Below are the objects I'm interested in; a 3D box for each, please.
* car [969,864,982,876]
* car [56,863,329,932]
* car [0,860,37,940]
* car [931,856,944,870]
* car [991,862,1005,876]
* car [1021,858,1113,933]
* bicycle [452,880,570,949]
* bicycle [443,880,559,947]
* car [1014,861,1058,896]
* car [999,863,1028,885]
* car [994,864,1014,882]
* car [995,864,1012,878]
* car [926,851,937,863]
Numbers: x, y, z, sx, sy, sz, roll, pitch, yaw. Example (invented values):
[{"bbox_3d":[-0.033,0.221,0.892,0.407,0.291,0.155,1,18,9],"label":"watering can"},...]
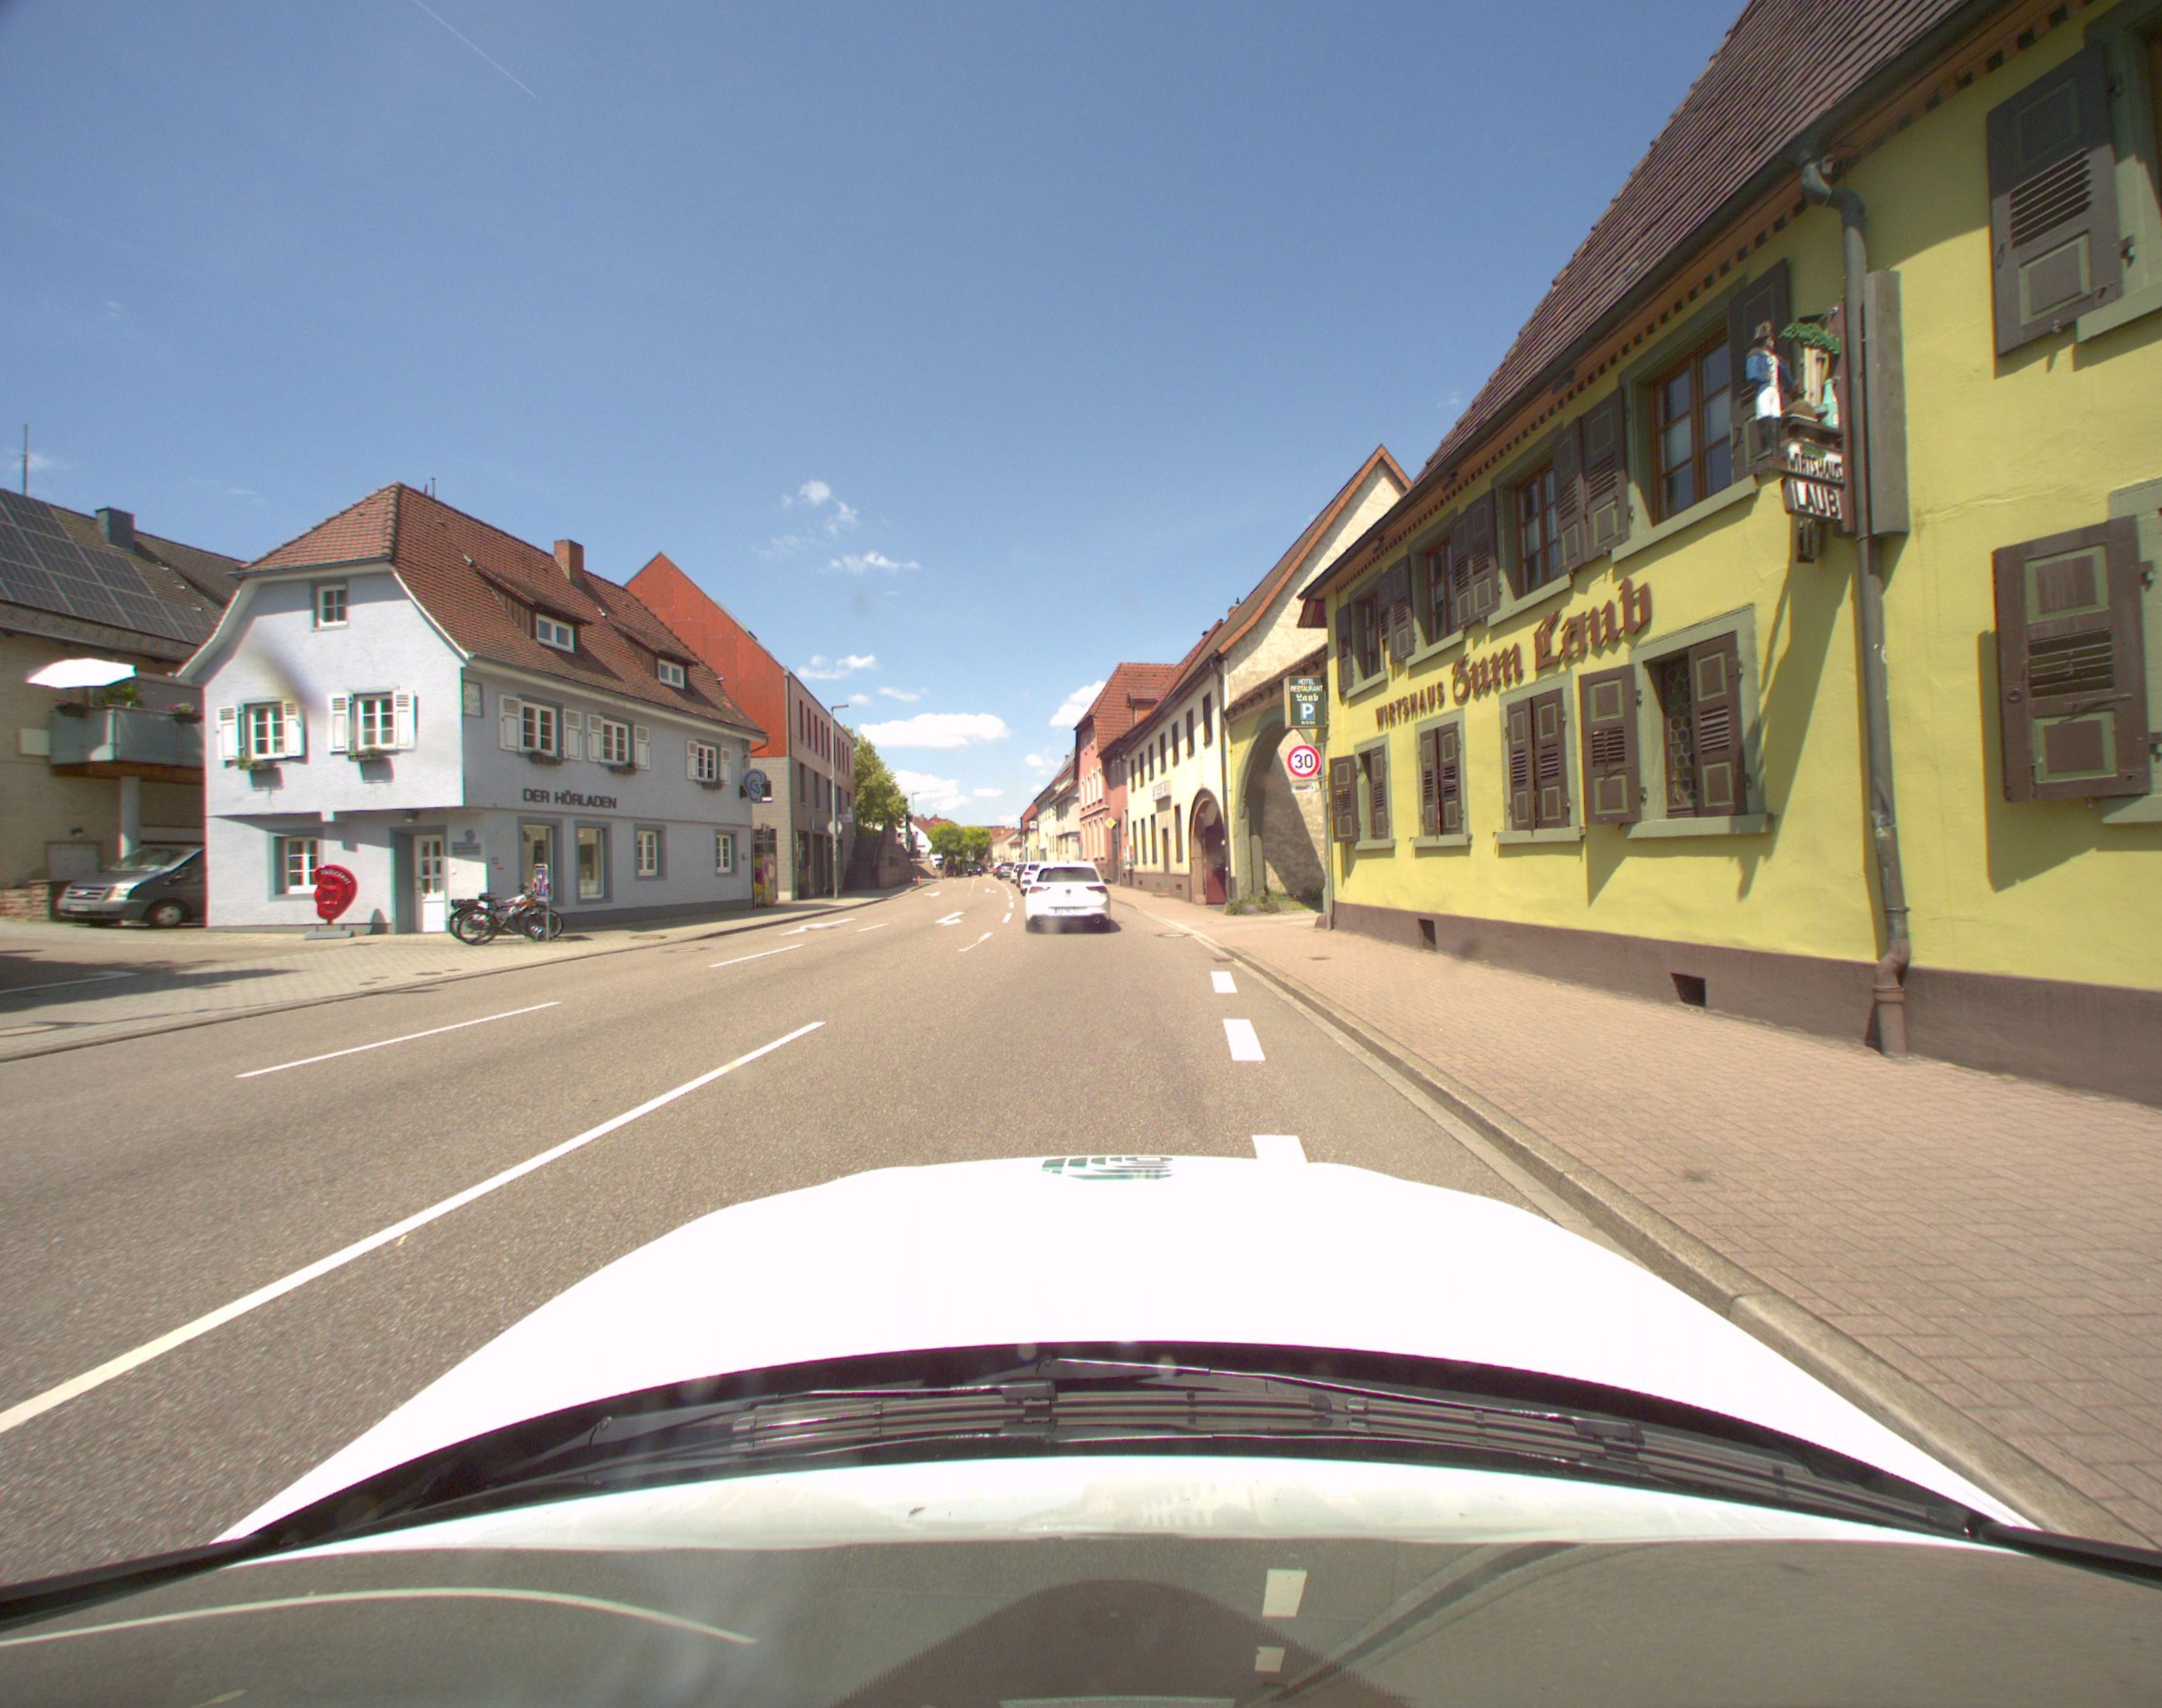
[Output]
[{"bbox_3d":[-14.630,2.177,112.745,1.668,1.657,4.008,-2,-1,-7],"label":"car"},{"bbox_3d":[-21.197,0.967,19.668,1.844,1.483,4.020,-1,-1,20],"label":"car"},{"bbox_3d":[-22.692,0.900,15.875,3.951,1.520,1.997,0,0,25],"label":"car"},{"bbox_3d":[-19.985,1.254,113.727,1.693,1.542,3.846,-1,5,-9],"label":"car"},{"bbox_3d":[-10.843,1.897,106.309,1.774,1.765,3.990,-1,-1,-7],"label":"car"},{"bbox_3d":[-0.344,0.849,18.002,1.803,1.468,3.996,0,-1,-2],"label":"car"},{"bbox_3d":[-11.300,1.168,16.178,1.841,1.249,0.571,1,0,-43],"label":"bicycle"},{"bbox_3d":[-11.790,1.180,16.597,1.841,1.249,0.571,1,0,-43],"label":"bicycle"},{"bbox_3d":[-2.009,1.056,35.908,1.804,1.468,3.994,0,-1,-4],"label":"car"},{"bbox_3d":[-4.889,1.420,58.338,1.807,1.468,3.988,0,-1,-8],"label":"car"},{"bbox_3d":[-6.907,1.693,72.939,1.773,1.538,3.991,-2,-1,-6],"label":"car"},{"bbox_3d":[-8.664,1.866,90.501,1.773,1.538,3.991,-2,-1,-6],"label":"car"},{"bbox_3d":[-22.909,0.449,124.888,1.576,1.361,3.846,-1,5,-9],"label":"car"}]
